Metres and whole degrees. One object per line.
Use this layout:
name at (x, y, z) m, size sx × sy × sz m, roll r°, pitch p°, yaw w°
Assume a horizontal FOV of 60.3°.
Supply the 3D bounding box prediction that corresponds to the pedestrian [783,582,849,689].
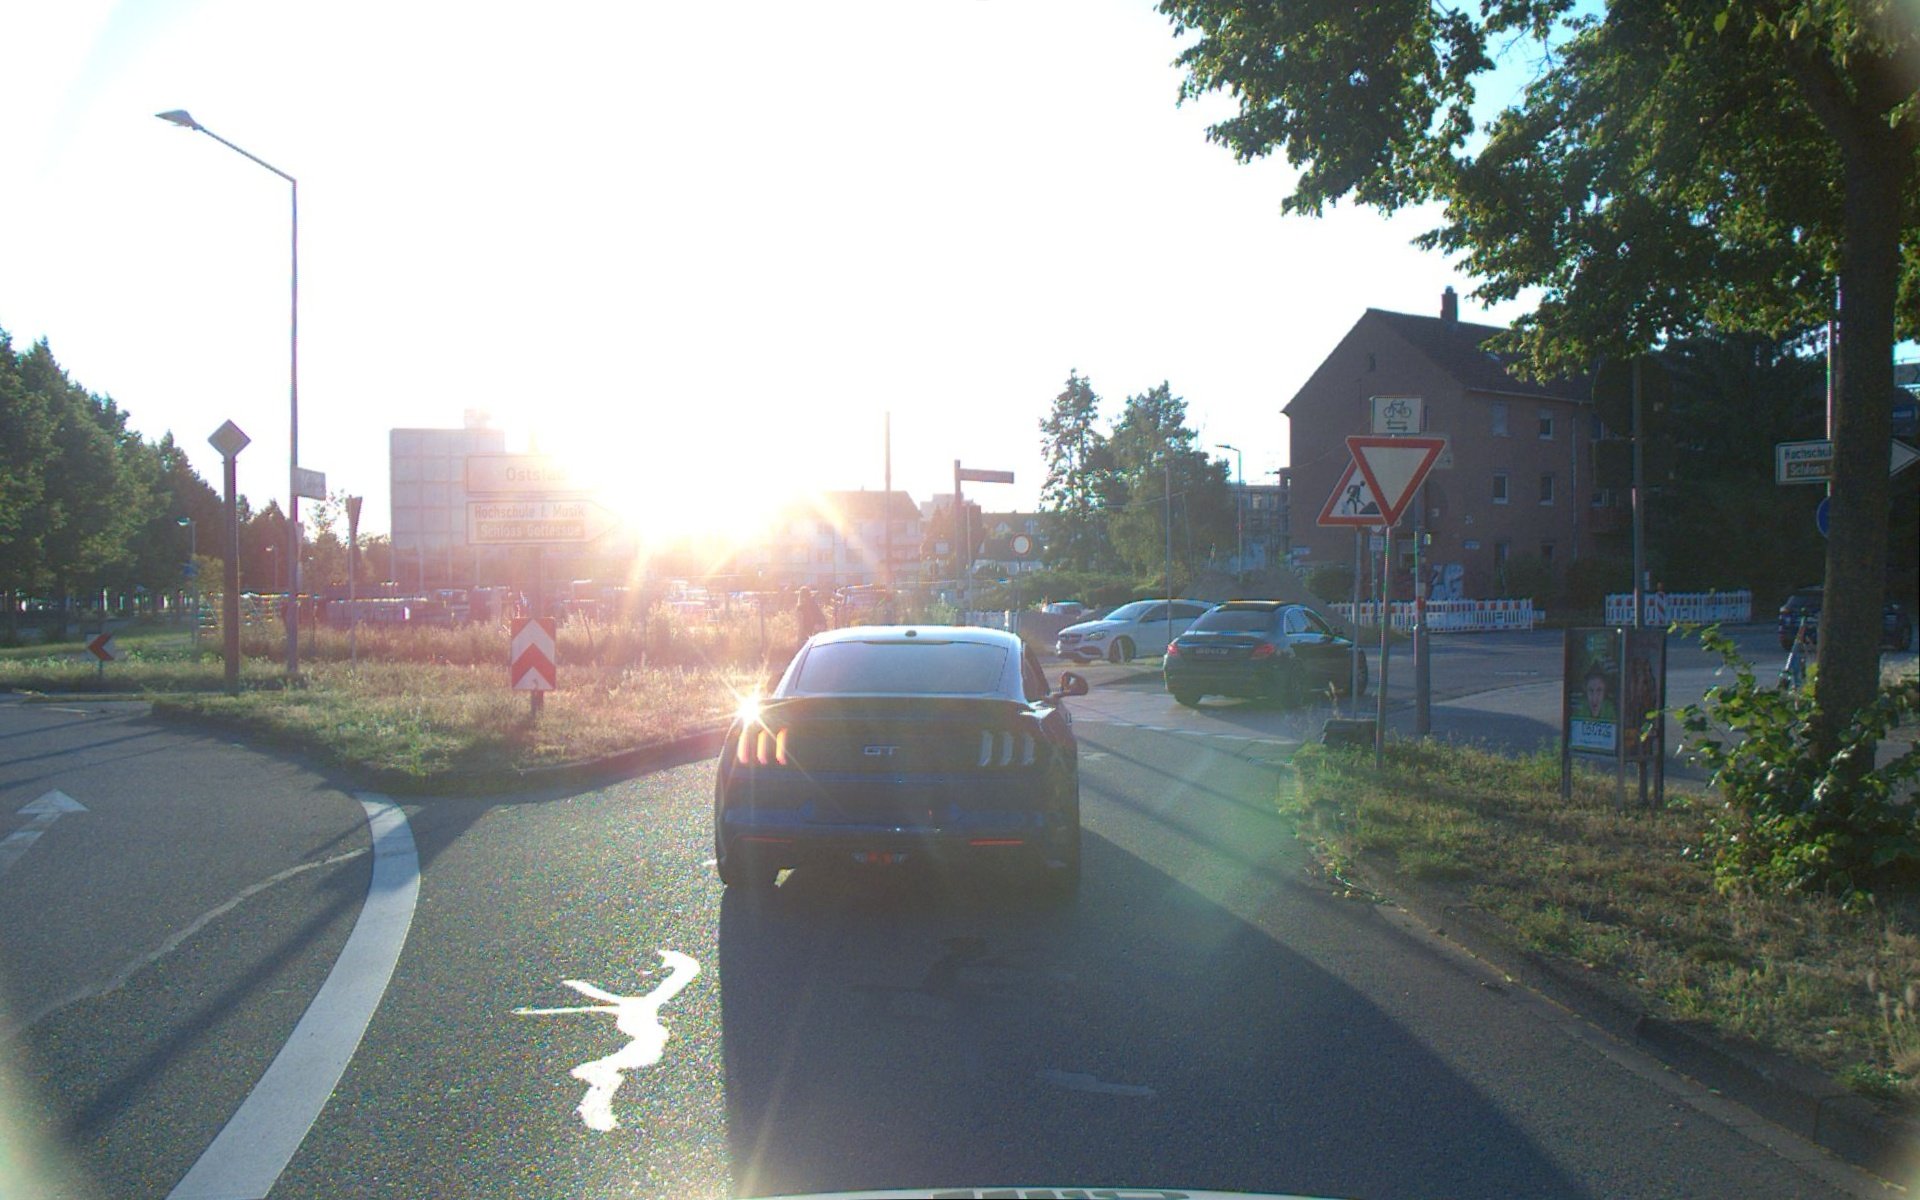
pedestrian at (-2.382, 0.568, 27.303) m, size 0.833 × 1.716 × 0.880 m, roll -1°, pitch 0°, yaw -25°

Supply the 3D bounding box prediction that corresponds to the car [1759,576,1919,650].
car at (21.897, 0.282, 41.131) m, size 4.030 × 1.630 × 1.934 m, roll -2°, pitch 2°, yaw -35°

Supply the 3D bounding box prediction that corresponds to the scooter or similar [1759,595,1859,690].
scooter or similar at (11.385, 0.564, 22.196) m, size 1.097 × 1.260 × 0.442 m, roll -1°, pitch 0°, yaw 1°

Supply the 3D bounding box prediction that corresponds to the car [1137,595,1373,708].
car at (4.424, 0.690, 24.245) m, size 1.916 × 1.452 × 4.419 m, roll -1°, pitch 0°, yaw 32°

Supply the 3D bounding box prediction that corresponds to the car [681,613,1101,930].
car at (-0.196, 0.793, 9.835) m, size 1.910 × 1.365 × 4.672 m, roll 0°, pitch 0°, yaw 3°

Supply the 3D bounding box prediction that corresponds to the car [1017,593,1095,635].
car at (4.087, 0.581, 70.873) m, size 1.964 × 1.736 × 3.977 m, roll -1°, pitch 0°, yaw -20°

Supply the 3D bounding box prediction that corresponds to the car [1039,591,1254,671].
car at (4.320, 0.672, 38.111) m, size 4.591 × 1.478 × 2.056 m, roll -3°, pitch 3°, yaw -29°
